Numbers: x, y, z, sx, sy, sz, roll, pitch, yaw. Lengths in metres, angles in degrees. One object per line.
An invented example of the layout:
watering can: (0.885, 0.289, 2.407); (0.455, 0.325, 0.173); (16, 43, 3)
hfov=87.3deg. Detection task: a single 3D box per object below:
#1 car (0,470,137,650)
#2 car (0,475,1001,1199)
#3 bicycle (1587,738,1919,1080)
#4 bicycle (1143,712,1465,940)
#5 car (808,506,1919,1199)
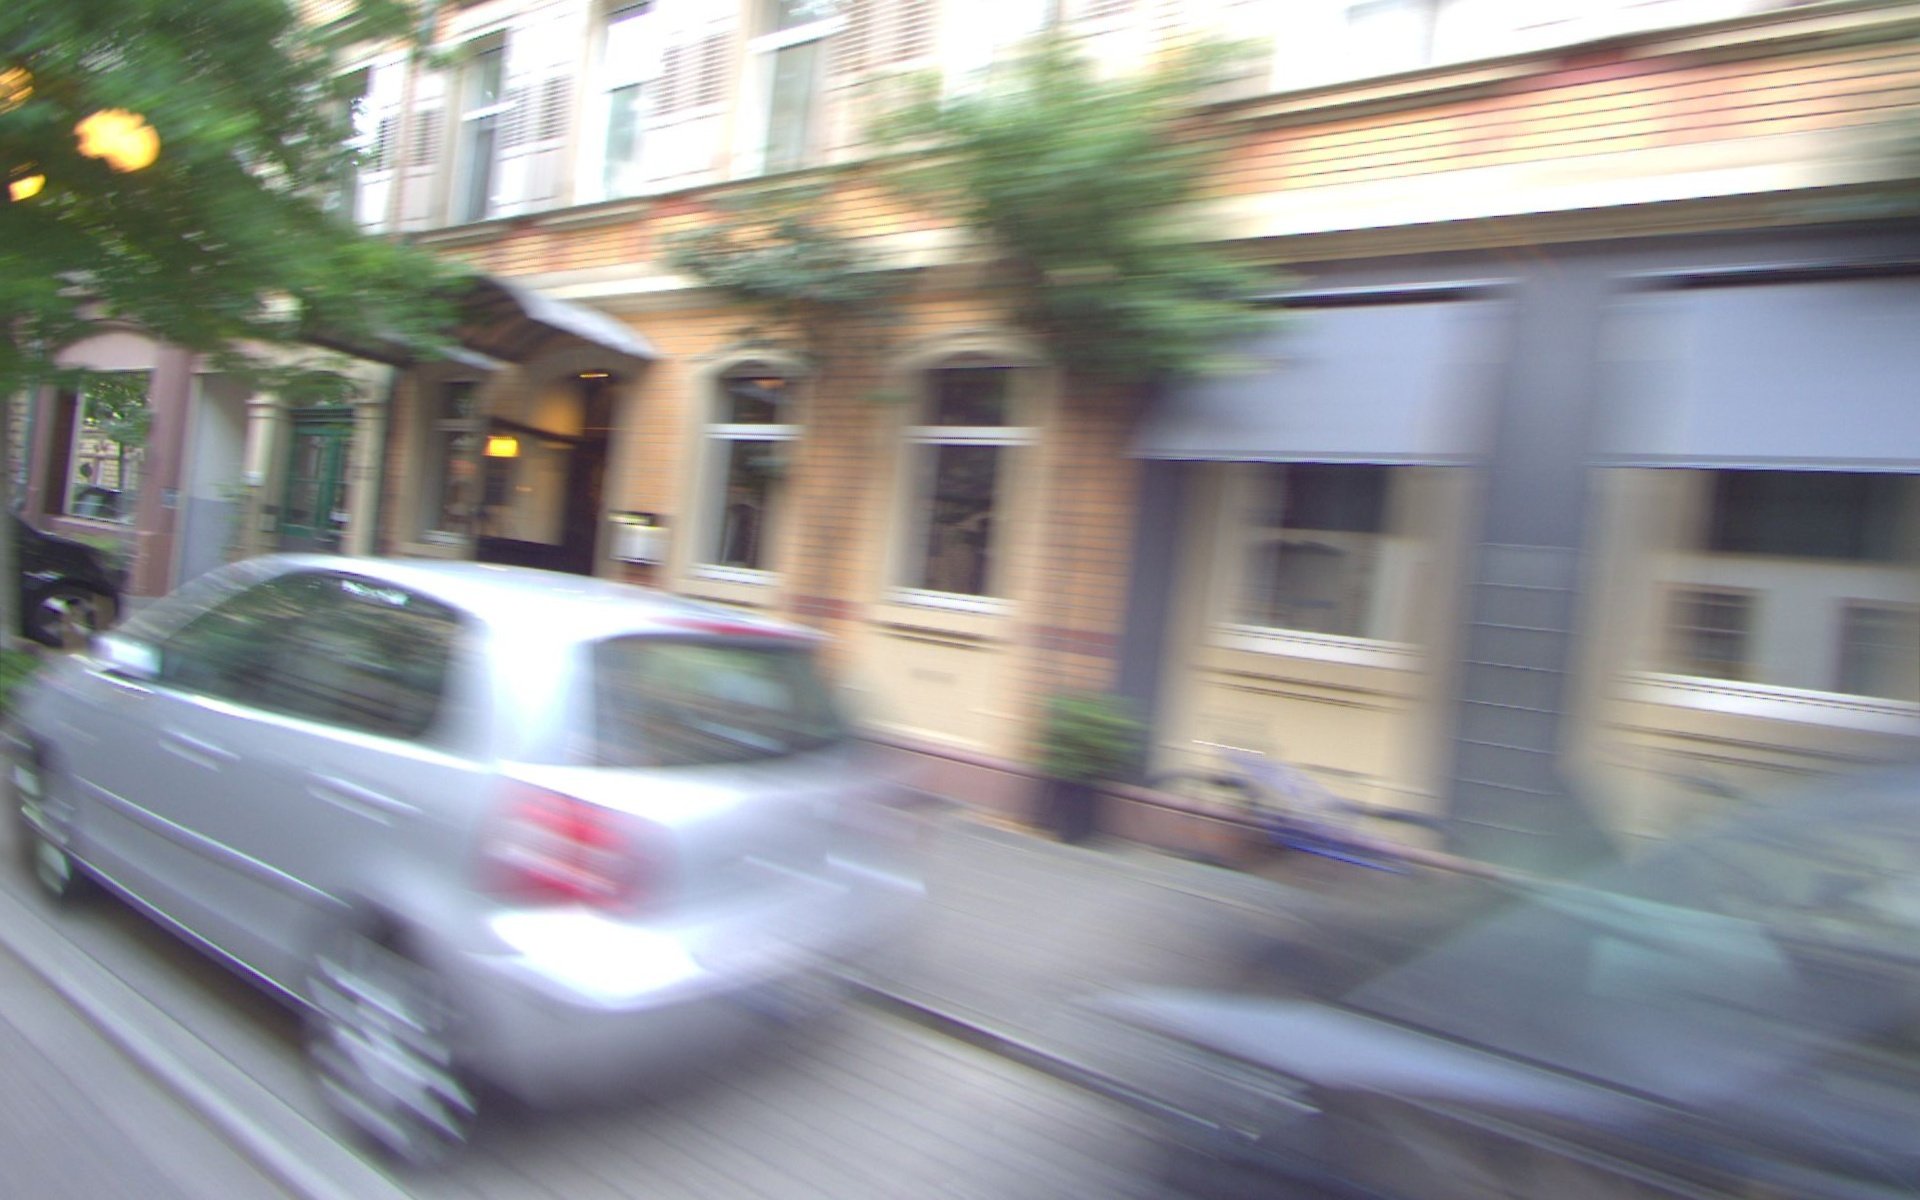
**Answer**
car: (-9.589, -0.451, 9.157); (1.771, 1.621, 2.797); (7, 3, 32)
car: (-2.091, 0.484, 3.807); (4.035, 1.509, 1.735); (7, 0, 32)
bicycle: (3.736, 1.274, 4.083); (1.918, 1.050, 0.686); (7, 3, 33)
bicycle: (1.850, 1.173, 5.502); (1.521, 0.870, 0.446); (7, 0, 30)
car: (1.504, 0.861, 1.469); (3.070, 1.579, 1.594); (7, 0, 30)
